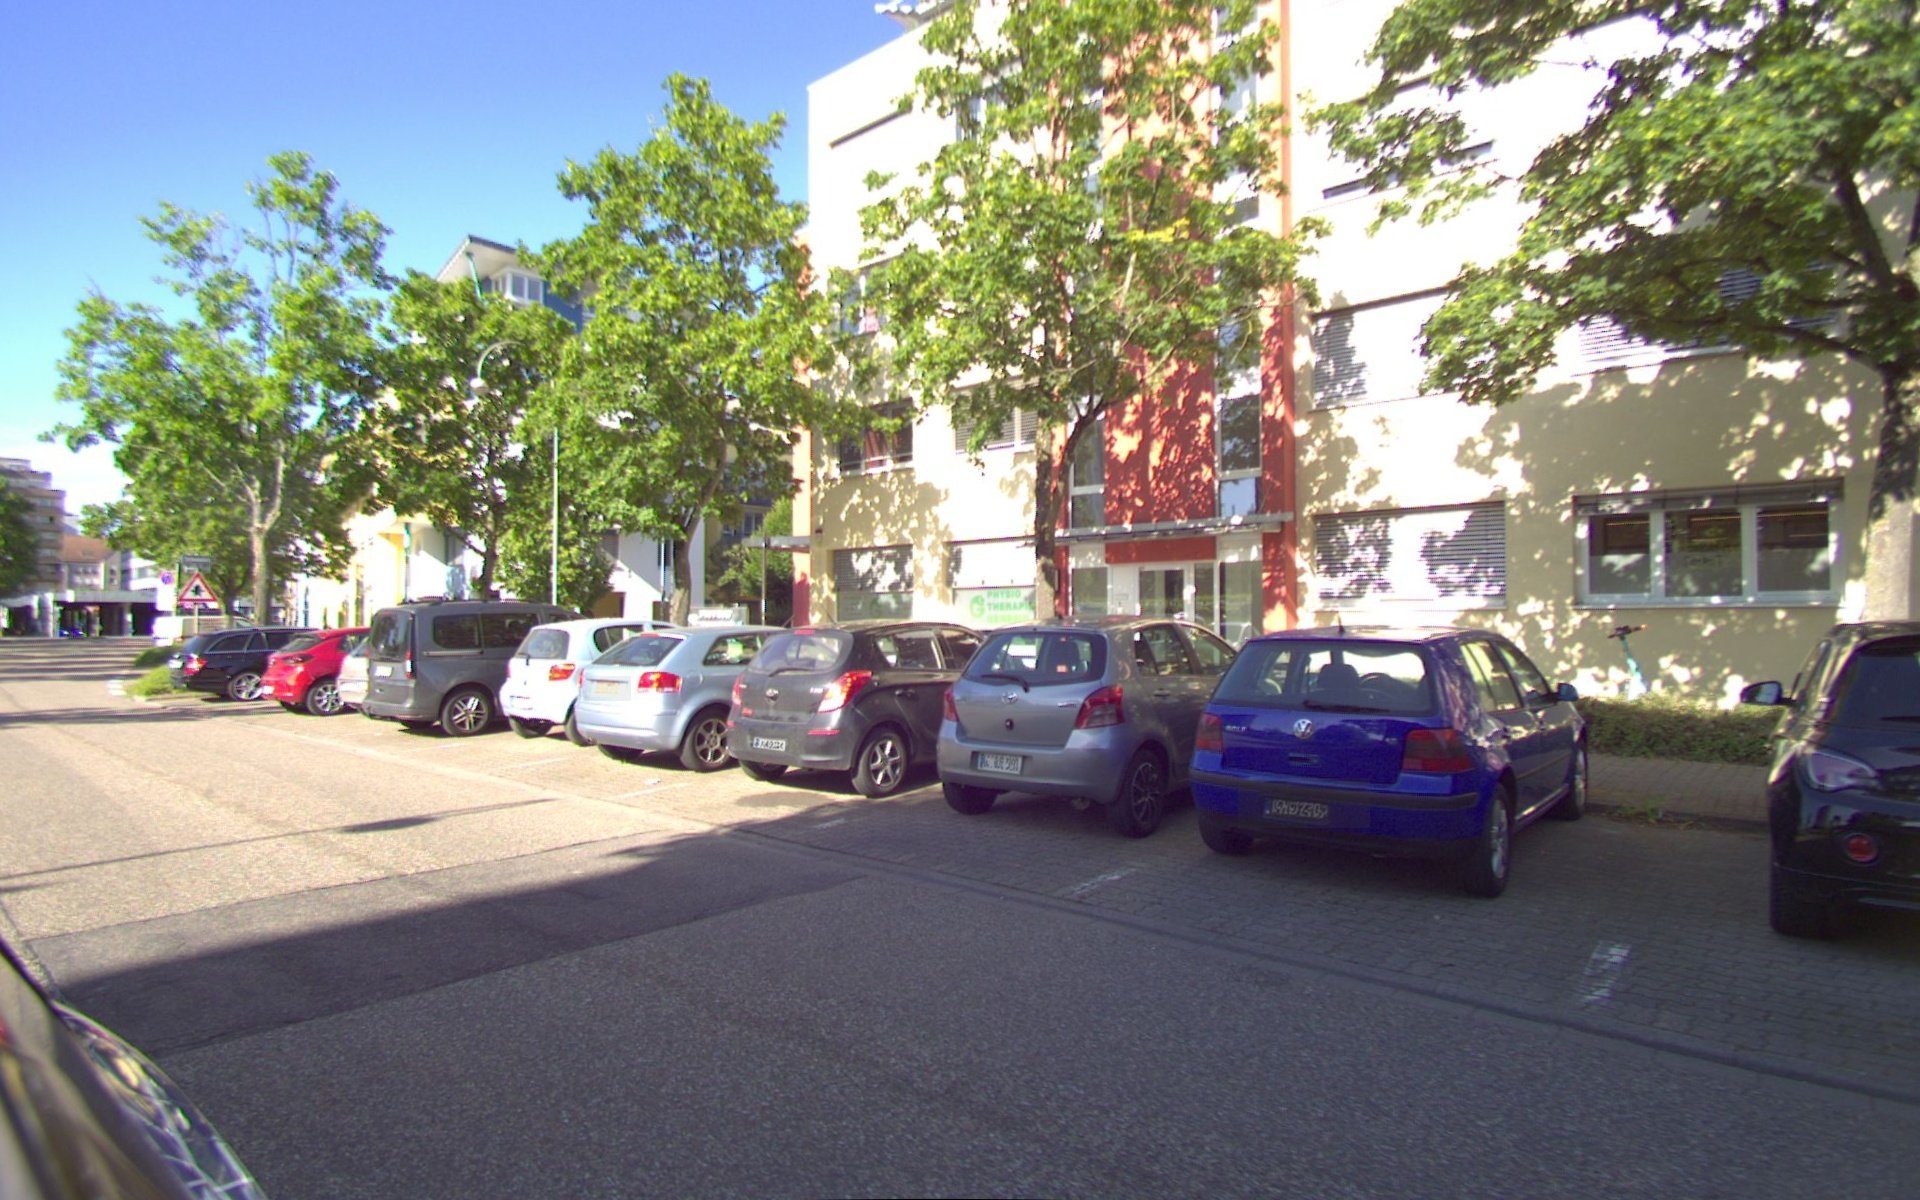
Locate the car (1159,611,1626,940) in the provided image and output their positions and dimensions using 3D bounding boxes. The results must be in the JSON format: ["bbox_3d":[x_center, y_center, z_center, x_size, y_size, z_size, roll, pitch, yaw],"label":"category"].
[{"bbox_3d":[3.044,0.843,6.680,1.839,1.438,3.689,-2,0,40],"label":"car"}]

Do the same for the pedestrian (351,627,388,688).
[{"bbox_3d":[-17.247,1.661,29.543,1.022,1.739,0.649,-2,-3,45],"label":"pedestrian"}]

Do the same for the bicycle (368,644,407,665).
[{"bbox_3d":[-30.960,2.948,54.741,1.774,1.106,0.703,2,-3,-36],"label":"bicycle"}]

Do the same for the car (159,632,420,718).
[{"bbox_3d":[-13.719,1.460,20.882,1.740,1.434,4.215,-2,-1,44],"label":"car"}]

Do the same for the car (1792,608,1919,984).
[{"bbox_3d":[5.407,0.789,5.146,1.771,1.438,3.689,-2,0,40],"label":"car"}]

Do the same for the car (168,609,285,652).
[{"bbox_3d":[-44.805,1.805,61.956,2.175,2.455,5.456,-2,-1,26],"label":"car"}]

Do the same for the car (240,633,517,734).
[{"bbox_3d":[-10.086,1.359,17.760,1.738,1.434,3.851,-2,0,41],"label":"car"}]

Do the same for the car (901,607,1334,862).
[{"bbox_3d":[1.465,0.865,8.305,1.858,1.520,3.689,-2,0,40],"label":"car"}]

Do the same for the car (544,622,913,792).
[{"bbox_3d":[-2.426,1.033,11.331,1.873,1.458,3.692,-2,0,37],"label":"car"}]

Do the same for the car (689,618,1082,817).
[{"bbox_3d":[-0.557,0.958,9.920,1.857,1.458,3.692,-2,0,37],"label":"car"}]

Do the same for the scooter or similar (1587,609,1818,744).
[{"bbox_3d":[8.637,0.856,11.851,2.108,1.457,0.647,-2,-3,41],"label":"scooter or similar"}]

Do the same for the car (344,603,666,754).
[{"bbox_3d":[-6.459,0.997,14.659,1.785,1.825,3.851,-2,0,41],"label":"car"}]

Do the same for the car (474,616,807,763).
[{"bbox_3d":[-4.151,1.059,13.580,1.858,1.586,3.851,-2,0,41],"label":"car"}]

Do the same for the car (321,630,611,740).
[{"bbox_3d":[-7.885,1.268,16.414,1.738,1.434,3.851,-2,0,41],"label":"car"}]

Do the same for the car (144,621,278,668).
[{"bbox_3d":[-34.373,2.023,46.630,1.983,2.000,4.743,-2,-1,17],"label":"car"}]
